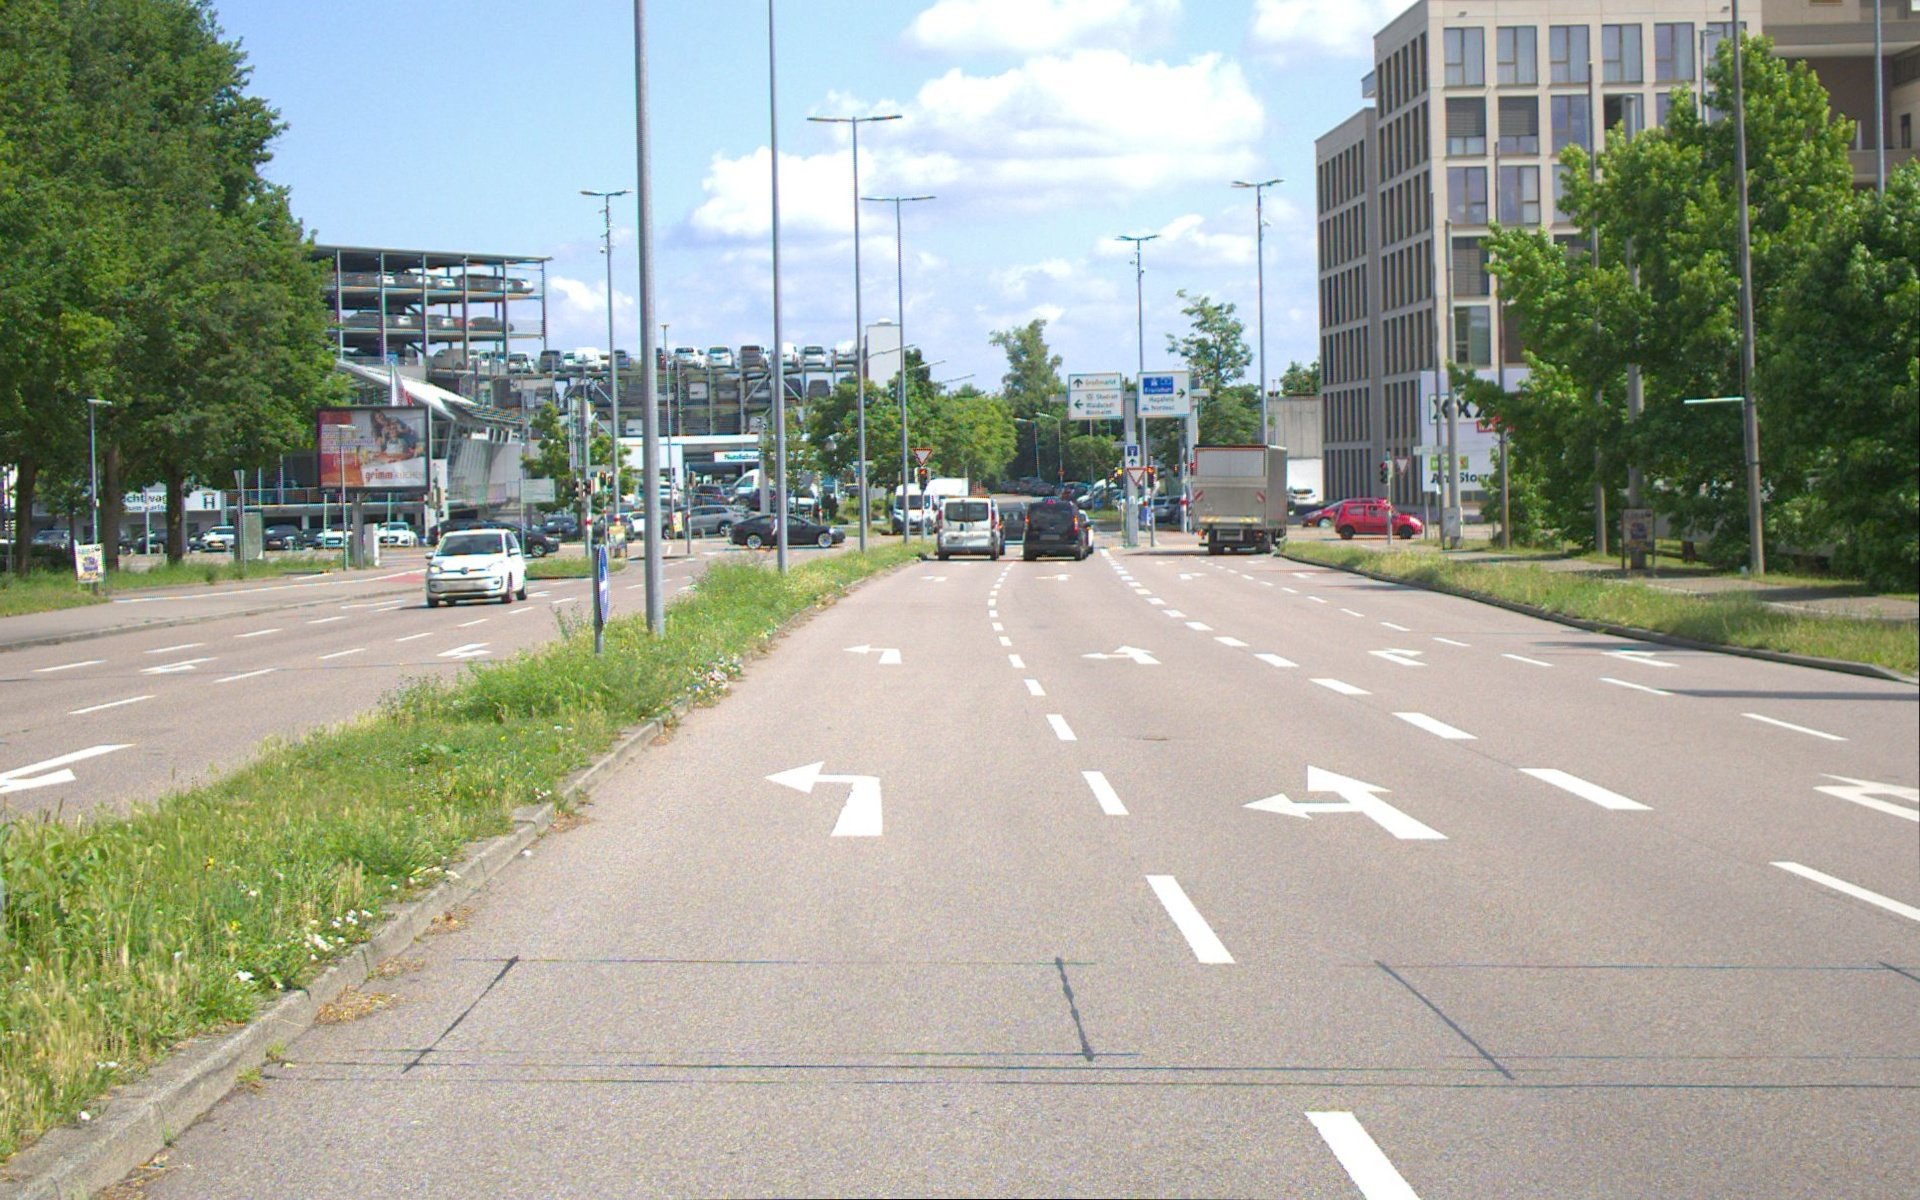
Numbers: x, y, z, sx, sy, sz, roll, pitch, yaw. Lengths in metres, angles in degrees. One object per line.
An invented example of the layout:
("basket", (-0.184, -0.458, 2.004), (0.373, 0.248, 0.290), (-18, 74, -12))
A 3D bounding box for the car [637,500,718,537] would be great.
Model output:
("car", (-13.966, -4.042, 170.257), (3.861, 1.633, 1.858), (-2, 3, -2))

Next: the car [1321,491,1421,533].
("car", (16.755, -3.598, 140.158), (3.988, 1.656, 2.000), (0, 3, 9))

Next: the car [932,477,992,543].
("car", (0.058, -2.855, 108.457), (1.856, 2.011, 4.001), (0, 3, 0))

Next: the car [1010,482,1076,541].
("car", (2.608, -2.771, 106.667), (1.820, 1.802, 4.000), (0, 2, 5))

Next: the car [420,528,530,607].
("car", (-9.541, -0.658, 67.852), (1.643, 1.424, 3.671), (-2, 2, -1))

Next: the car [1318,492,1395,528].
("car", (17.849, -4.070, 154.828), (3.272, 1.400, 1.334), (-1, 11, 0))

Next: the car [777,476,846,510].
("car", (-8.693, -6.278, 201.437), (3.986, 1.919, 1.827), (-1, 2, -4))

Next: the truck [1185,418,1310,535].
("truck", (10.164, -4.368, 120.718), (3.131, 3.926, 8.854), (0, 3, 13))
